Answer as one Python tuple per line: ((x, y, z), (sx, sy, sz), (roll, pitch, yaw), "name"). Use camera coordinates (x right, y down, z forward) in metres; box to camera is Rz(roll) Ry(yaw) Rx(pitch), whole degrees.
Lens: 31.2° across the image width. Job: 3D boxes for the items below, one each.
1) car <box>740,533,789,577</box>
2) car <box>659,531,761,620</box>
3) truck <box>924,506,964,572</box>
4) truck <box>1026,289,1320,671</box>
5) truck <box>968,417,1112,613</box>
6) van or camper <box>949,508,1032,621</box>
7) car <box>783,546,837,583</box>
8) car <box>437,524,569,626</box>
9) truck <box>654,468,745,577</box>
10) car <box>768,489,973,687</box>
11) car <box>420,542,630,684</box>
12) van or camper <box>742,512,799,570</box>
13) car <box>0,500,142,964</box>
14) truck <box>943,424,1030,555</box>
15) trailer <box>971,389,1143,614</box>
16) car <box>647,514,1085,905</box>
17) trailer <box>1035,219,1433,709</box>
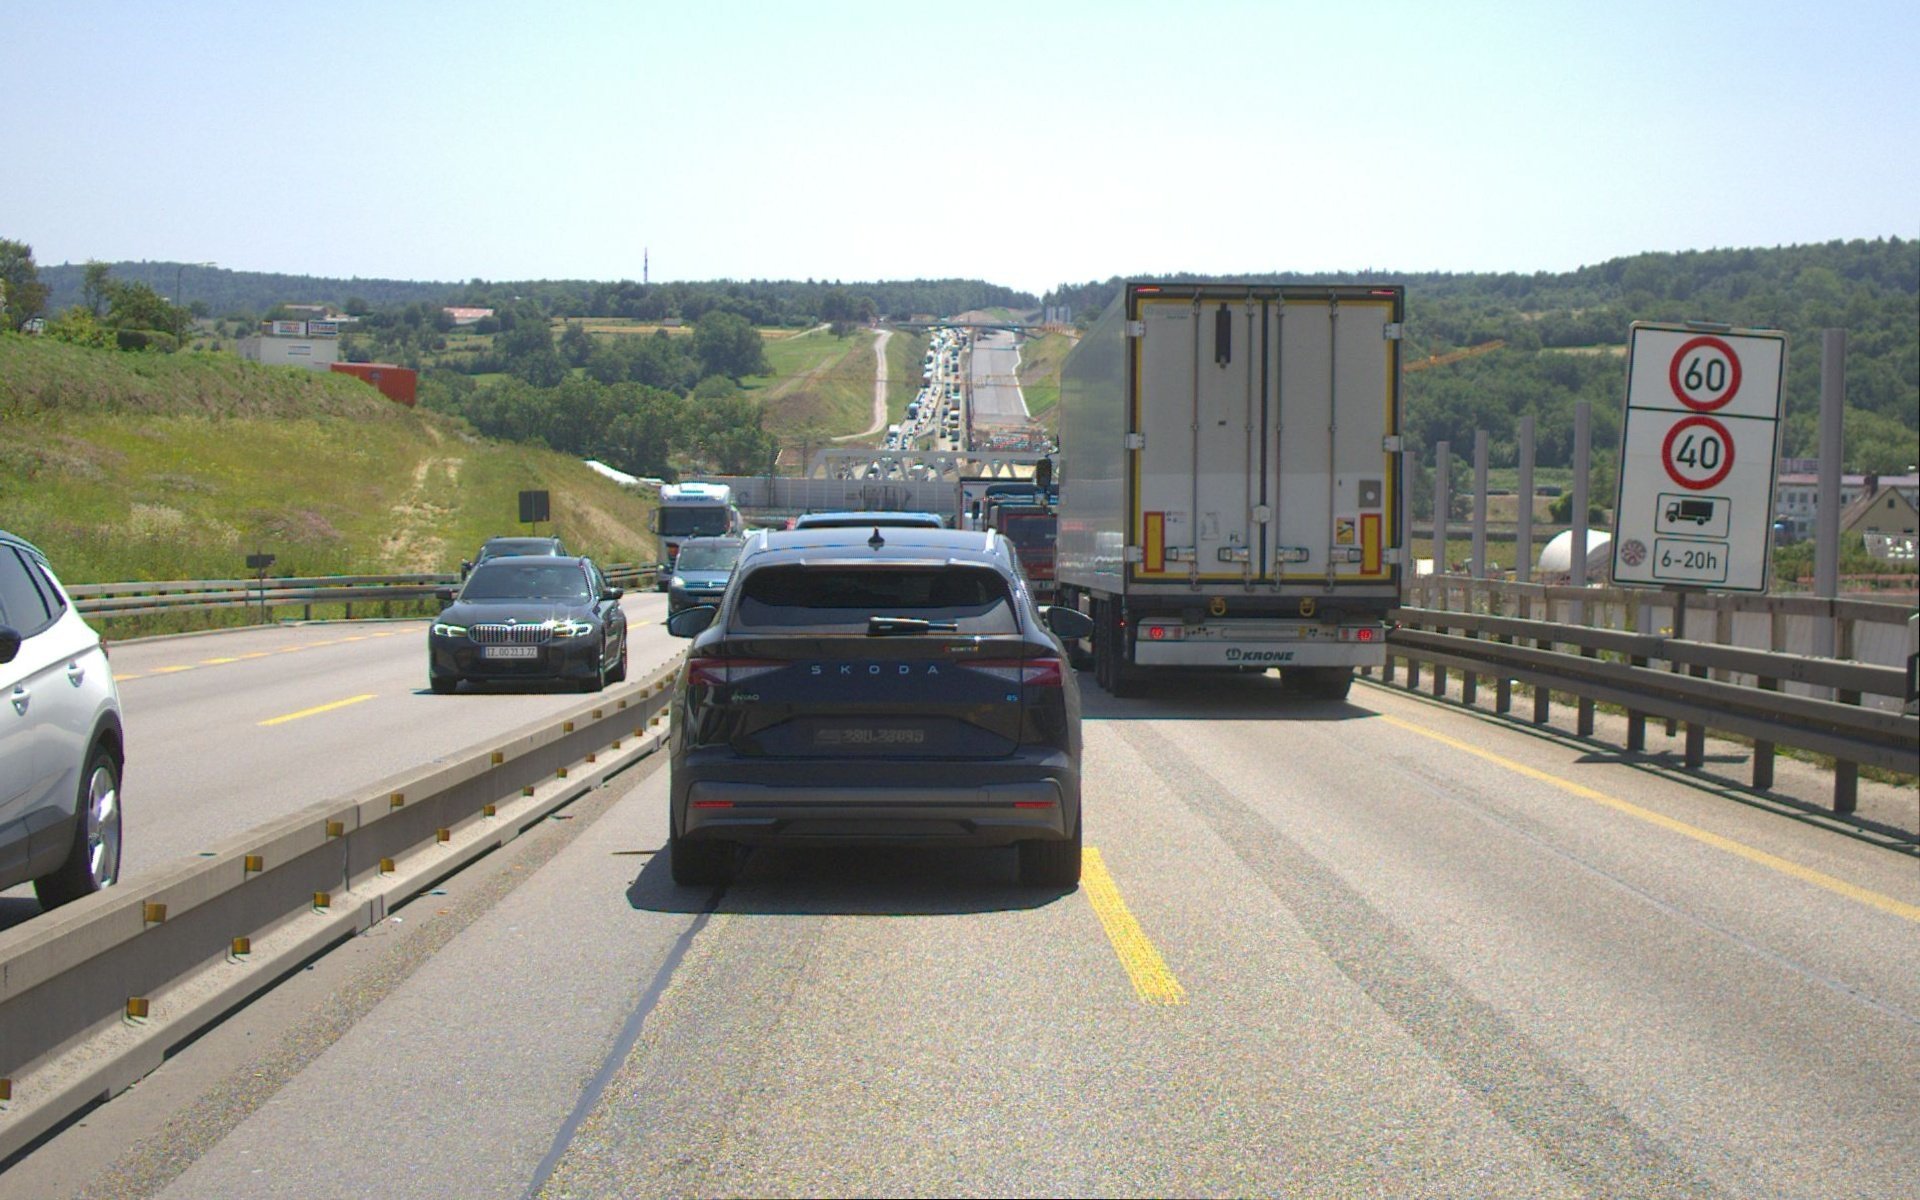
((-8.922, -2.062, 157.408), (1.993, 1.964, 5.343), (0, 1, 0), "car")
((-5.151, -0.532, 71.358), (1.846, 1.771, 4.882), (0, 1, -1), "car")
((-1.109, -4.050, 231.470), (2.640, 4.179, 9.284), (1, 0, -1), "truck")
((2.600, -1.503, 44.786), (3.180, 4.497, 8.166), (1, 1, -1), "truck")
((1.858, -1.948, 83.685), (3.180, 4.498, 8.165), (1, 0, -1), "truck")
((0.951, -1.016, 103.199), (2.389, 3.269, 6.468), (0, 0, 1), "van or camper")
((-5.801, -1.400, 133.343), (1.895, 1.409, 4.679), (0, 1, 0), "car")
((-8.201, -0.464, 61.992), (1.828, 1.760, 4.497), (0, 1, -1), "car")
((-8.990, -2.675, 119.030), (2.779, 3.660, 6.278), (1, 1, -1), "truck")
((-0.912, -0.104, 35.899), (1.993, 1.919, 4.508), (1, 0, -1), "car")
((-4.724, 0.108, 37.857), (1.798, 1.461, 4.355), (-1, 1, -1), "car")
((-9.014, -2.817, 163.990), (2.357, 2.667, 7.858), (0, 1, -1), "van or camper")
((-4.286, 0.458, 12.339), (1.806, 1.634, 4.172), (0, 1, -1), "car")
((0.907, -4.006, 128.179), (2.852, 4.450, 11.918), (1, 0, -1), "truck")
((1.970, -1.959, 76.671), (3.180, 4.498, 14.967), (1, 0, -1), "trailer")
((-0.390, 0.441, 16.236), (1.802, 1.602, 4.000), (0, 0, 0), "car")
((2.678, -1.393, 38.332), (3.180, 4.497, 13.109), (1, 1, -1), "trailer")
